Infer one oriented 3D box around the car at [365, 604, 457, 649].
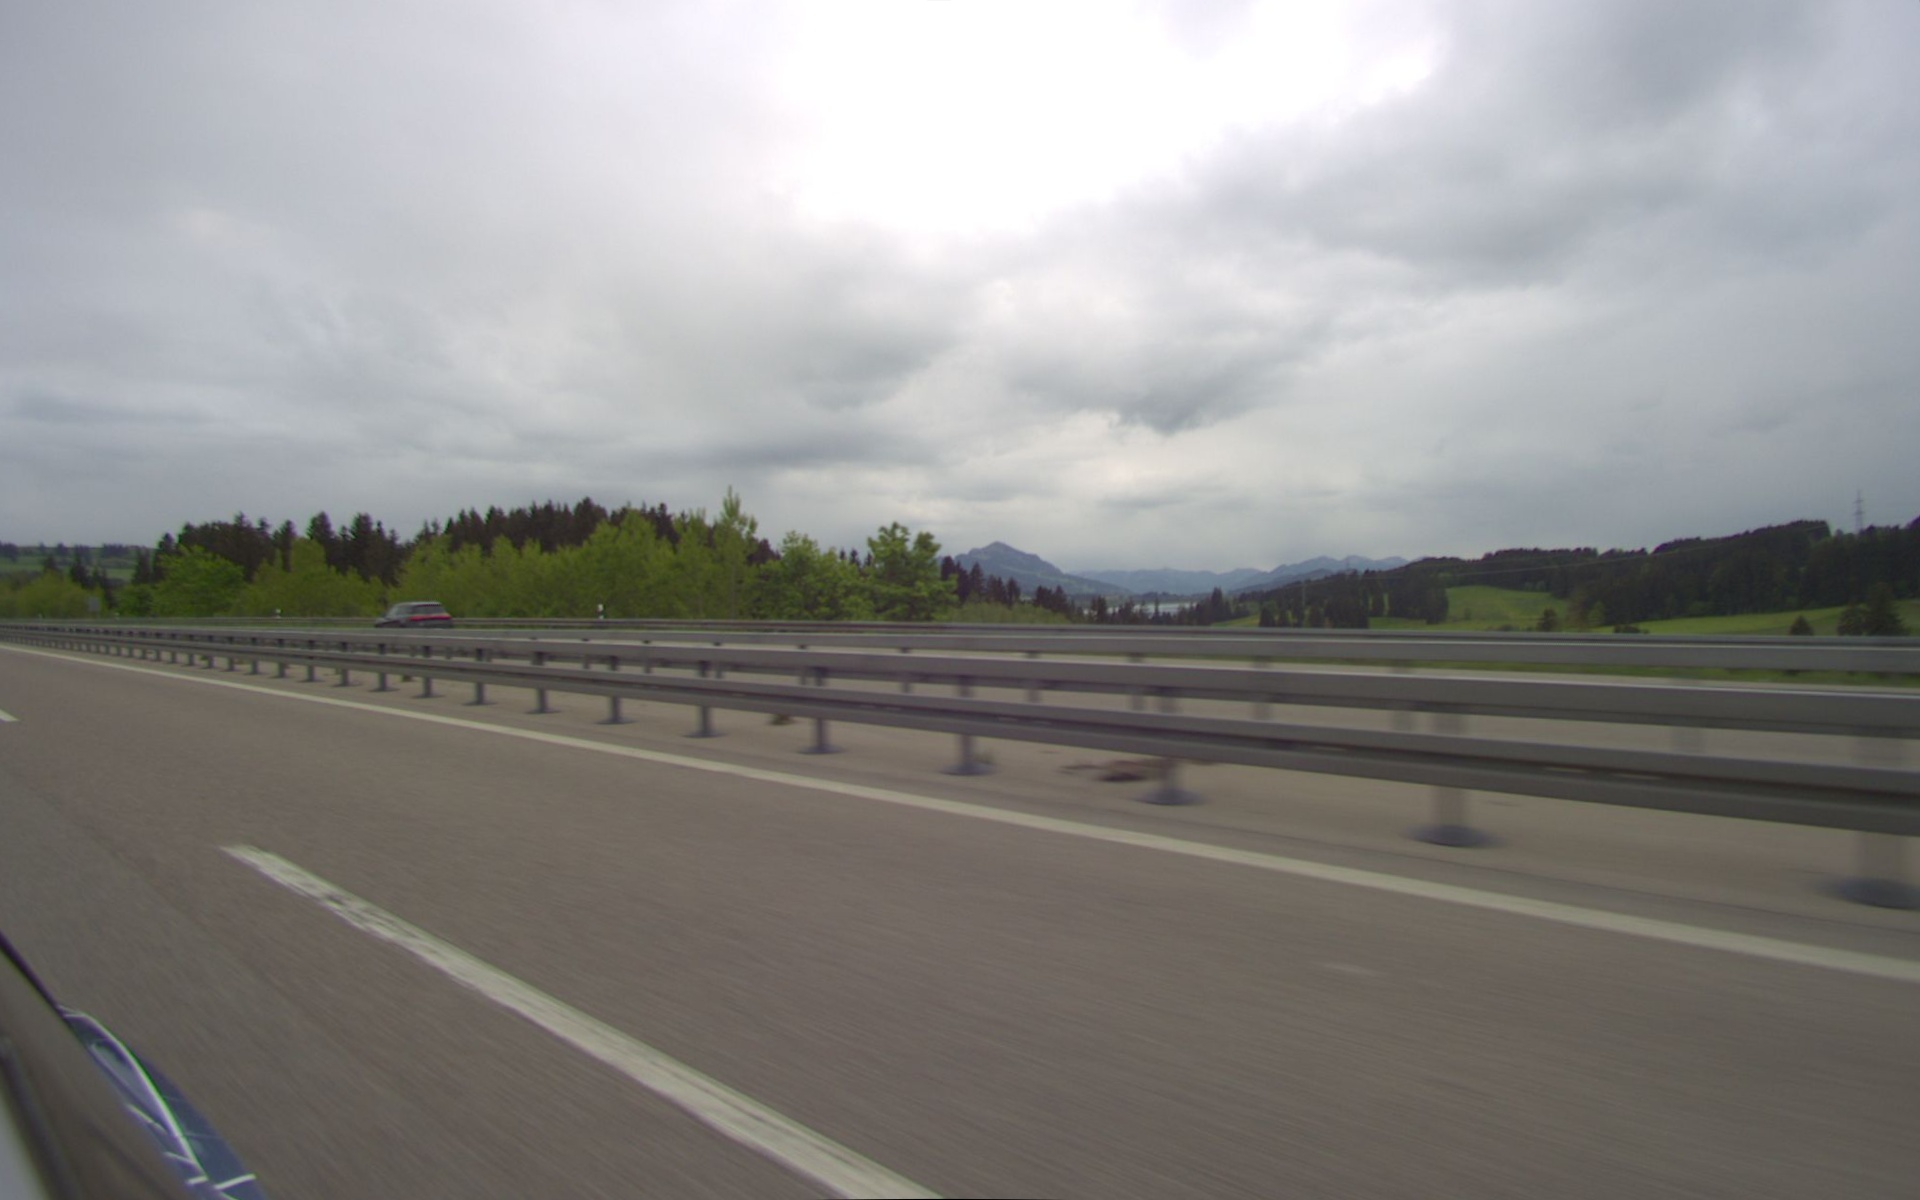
[{"bbox_3d":[-22.109,1.041,40.722,4.227,1.624,1.880,-1,1,41],"label":"car"}]
